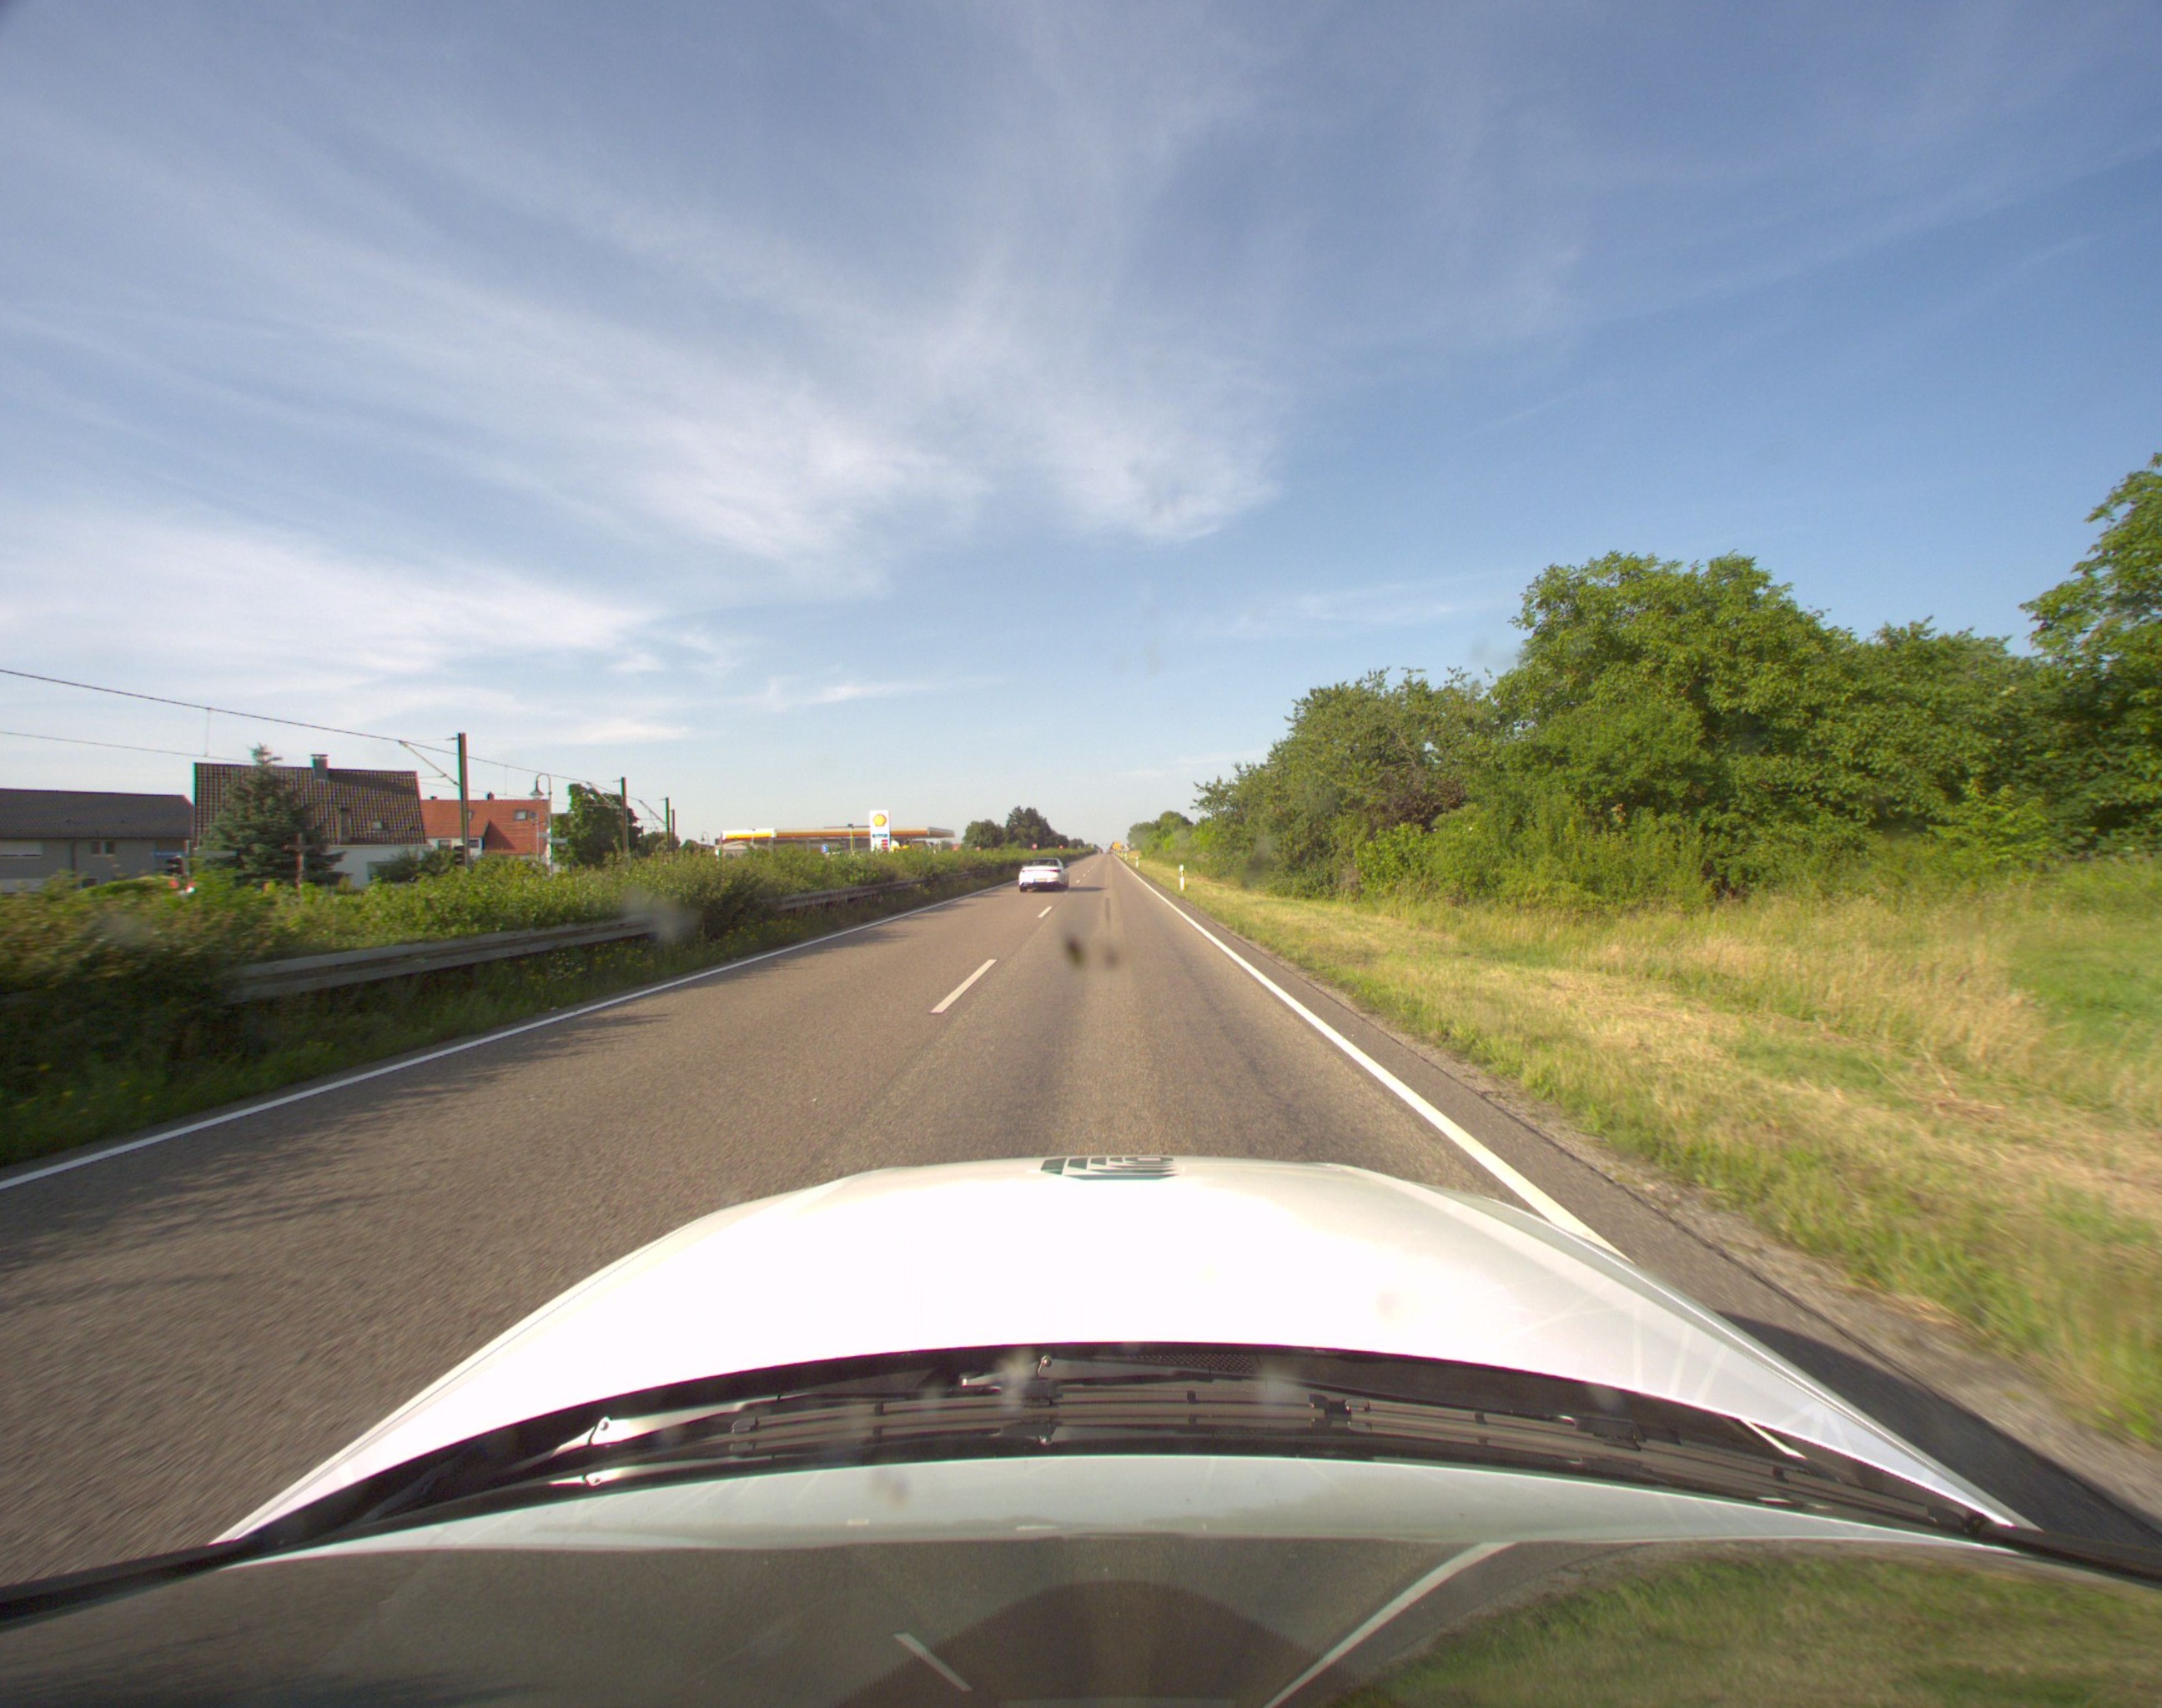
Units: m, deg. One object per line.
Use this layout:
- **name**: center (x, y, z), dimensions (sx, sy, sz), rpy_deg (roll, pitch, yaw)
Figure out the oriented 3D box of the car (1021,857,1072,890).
- **car**: center (-1.415, 0.779, 34.768), dimensions (1.764, 1.337, 4.953), rpy_deg (0, 0, 2)
